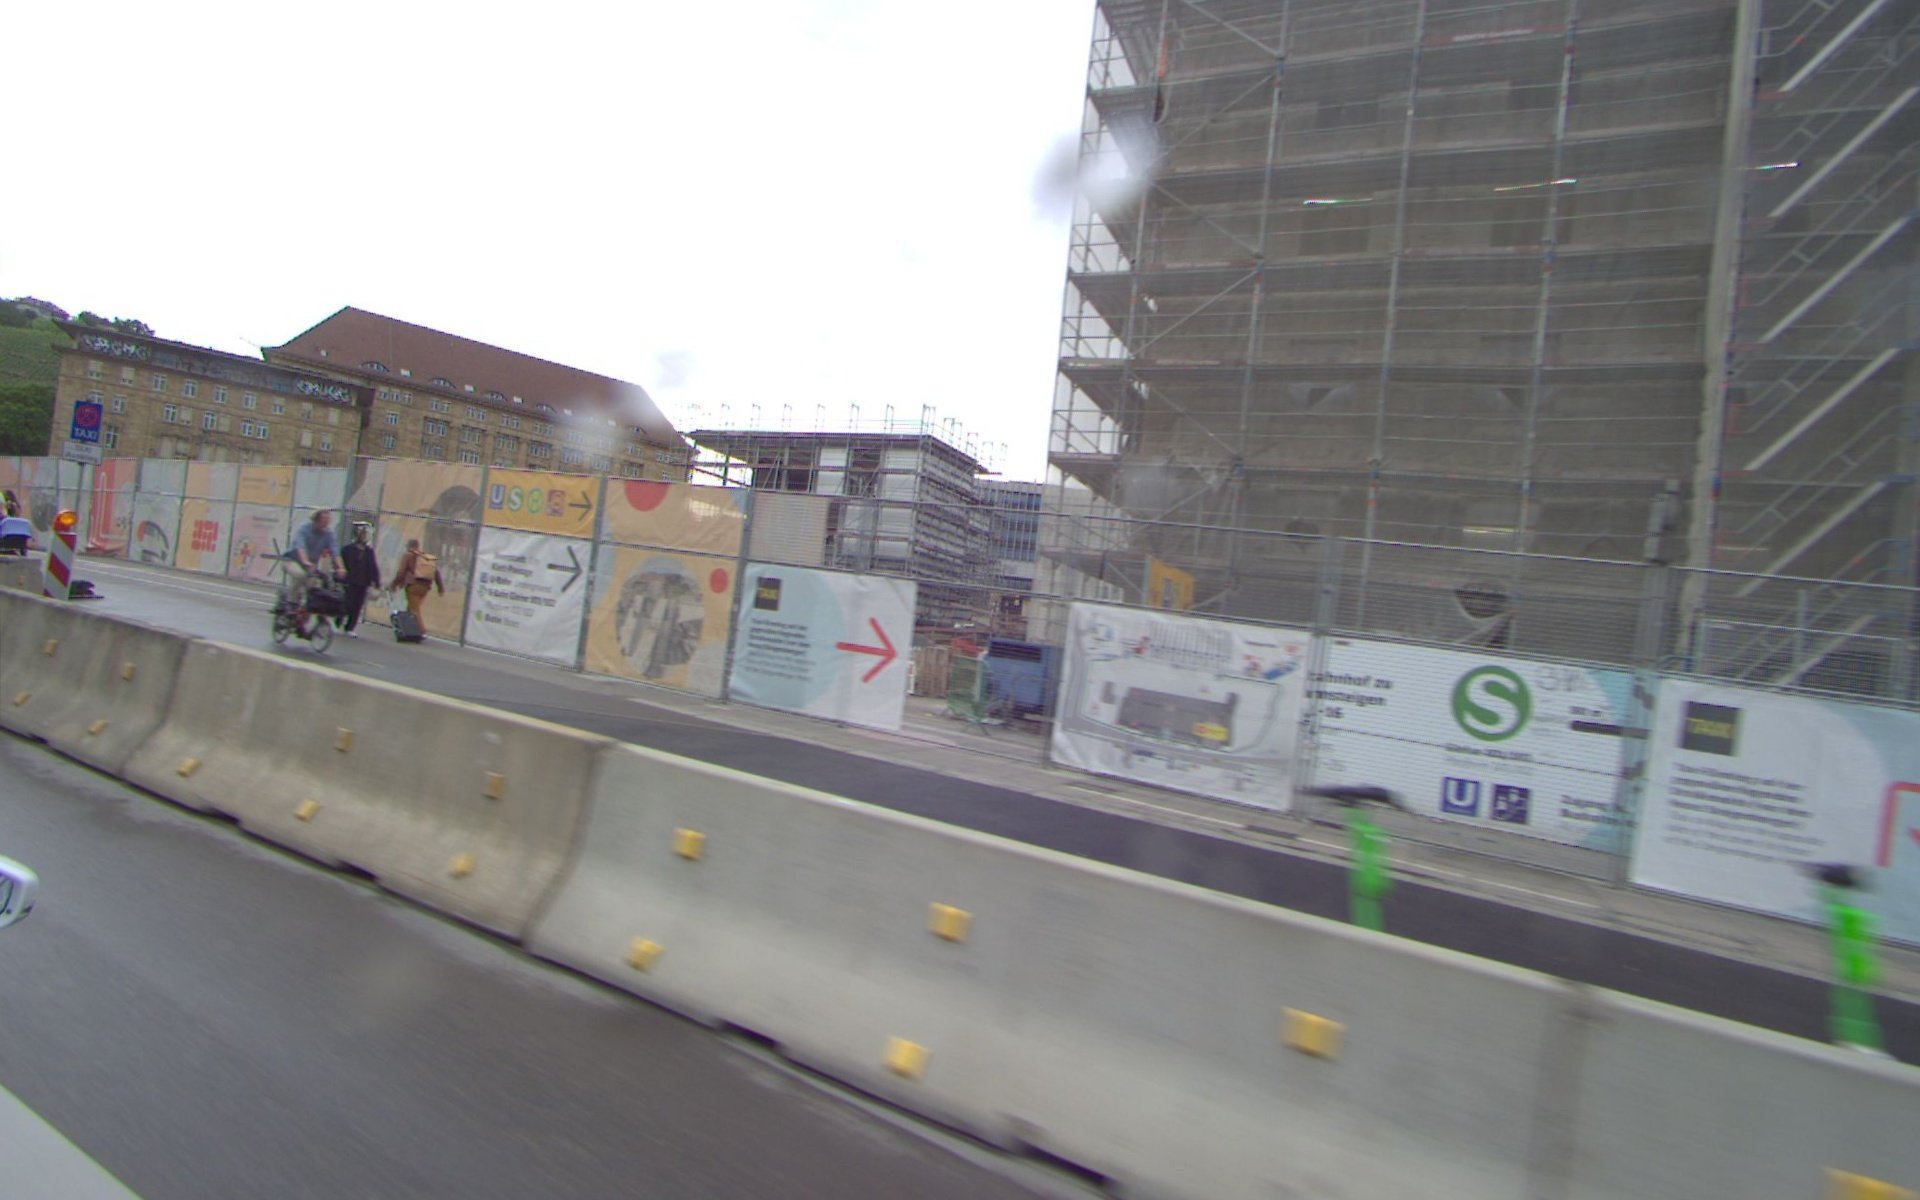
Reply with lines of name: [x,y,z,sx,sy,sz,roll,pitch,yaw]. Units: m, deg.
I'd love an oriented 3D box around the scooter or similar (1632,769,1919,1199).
scooter or similar: [3.034,1.346,3.429,0.489,1.349,1.015,8,-1,-35]

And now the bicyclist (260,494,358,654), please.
bicyclist: [-8.773,-0.343,13.570,0.589,2.037,0.728,6,-1,32]

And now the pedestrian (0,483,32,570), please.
pedestrian: [-22.010,-1.710,23.125,0.682,1.911,0.684,7,-1,32]

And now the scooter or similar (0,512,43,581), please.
scooter or similar: [-18.134,-1.039,19.132,1.027,1.212,0.666,7,-1,32]

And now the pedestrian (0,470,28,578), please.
pedestrian: [-18.965,-1.523,19.588,0.956,2.040,0.804,7,-1,32]

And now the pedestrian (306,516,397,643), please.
pedestrian: [-9.781,-0.320,16.189,0.651,1.917,0.850,6,-1,32]

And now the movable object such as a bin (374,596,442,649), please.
movable object such as a bin: [-9.089,0.372,16.570,0.764,0.743,0.598,6,-2,30]

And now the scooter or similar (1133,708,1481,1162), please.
scooter or similar: [1.268,1.154,3.756,1.006,1.349,0.526,7,-1,20]

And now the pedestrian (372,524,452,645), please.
pedestrian: [-9.246,-0.246,16.978,0.643,1.917,0.768,6,-1,32]

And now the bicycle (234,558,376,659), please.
bicycle: [-8.867,0.107,13.600,1.948,1.125,0.767,6,-1,32]
